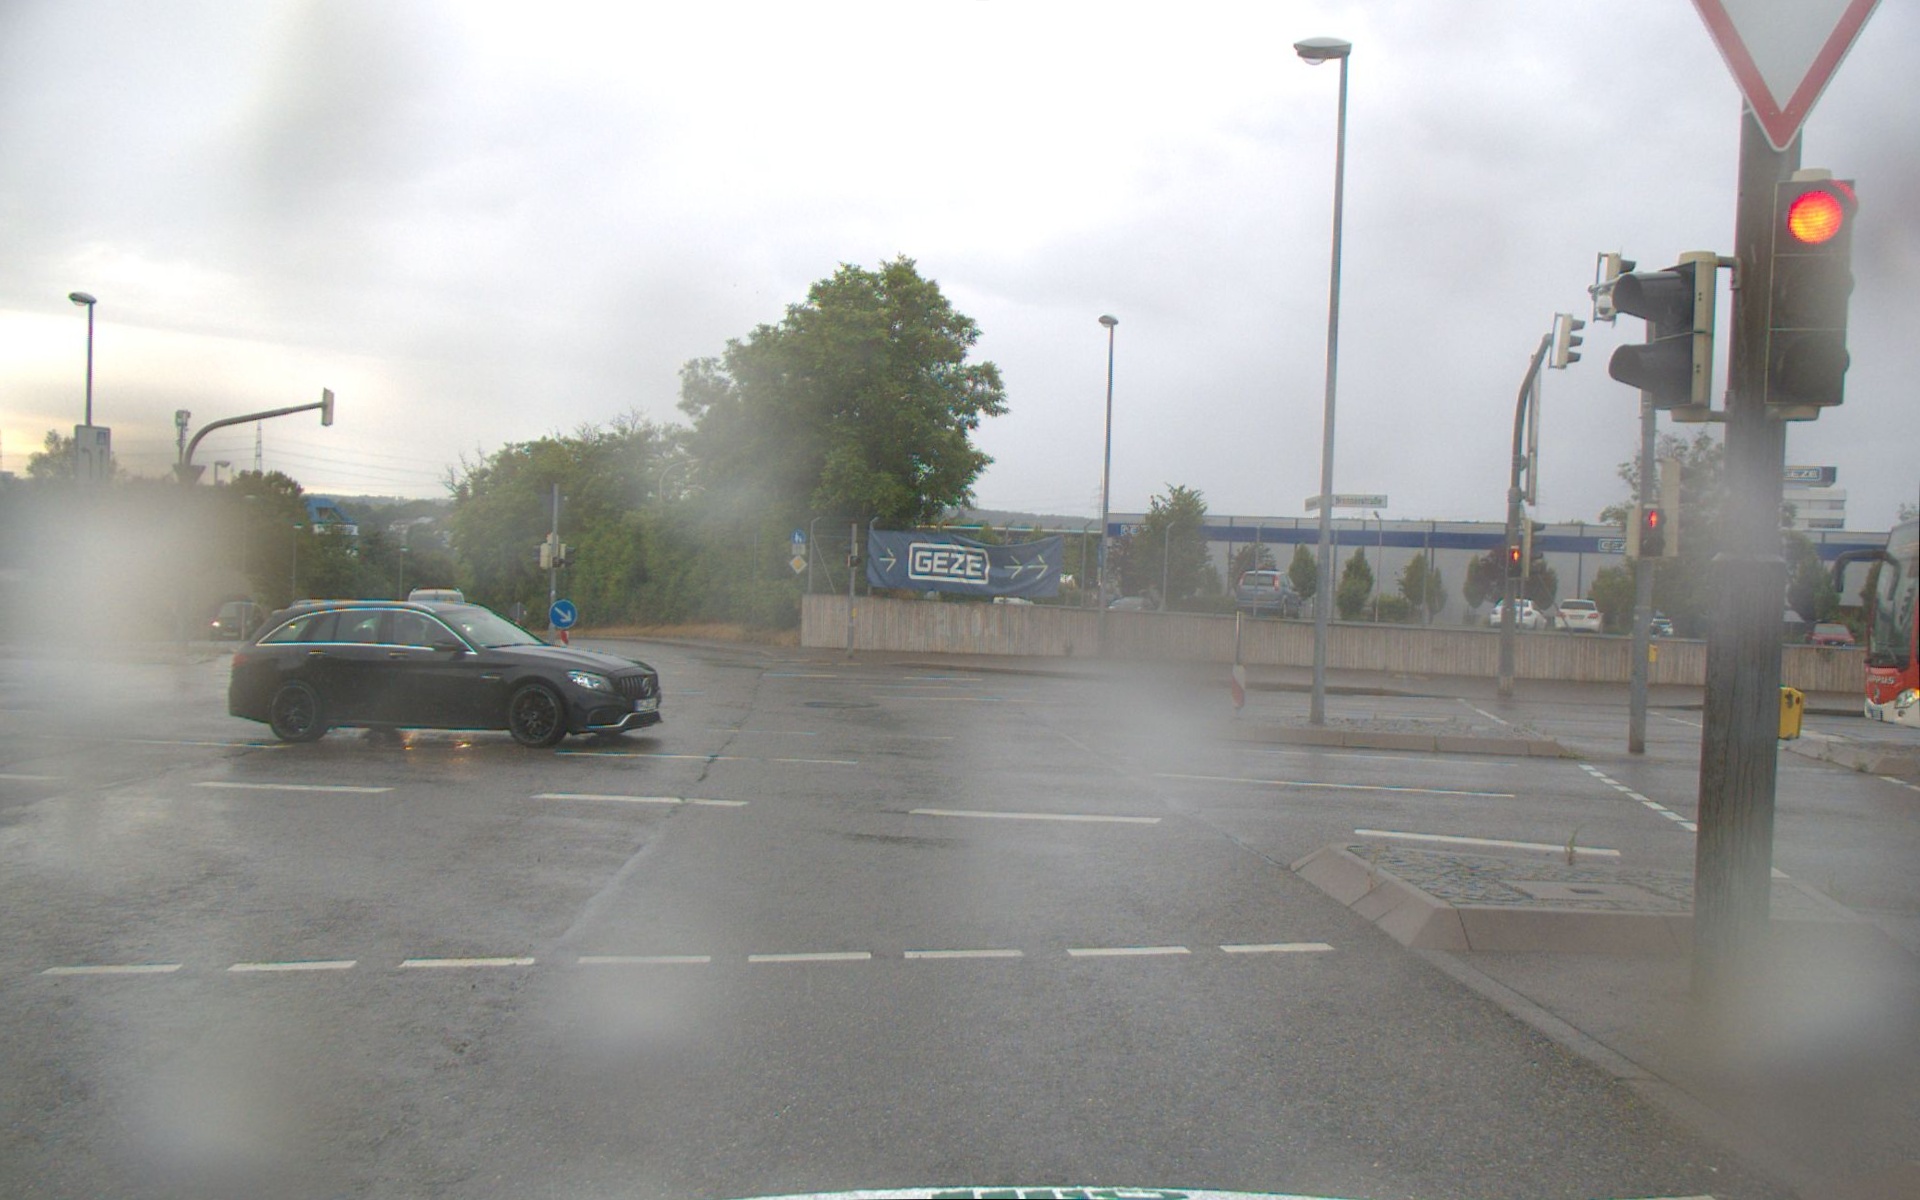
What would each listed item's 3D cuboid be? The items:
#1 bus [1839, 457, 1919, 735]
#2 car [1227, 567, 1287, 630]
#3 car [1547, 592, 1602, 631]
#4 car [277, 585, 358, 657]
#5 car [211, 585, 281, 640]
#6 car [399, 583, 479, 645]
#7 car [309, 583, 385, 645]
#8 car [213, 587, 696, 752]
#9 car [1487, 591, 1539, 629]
[{"bbox_3d":[17.649,0.218,19.877,12.020,3.379,3.076,3,1,17],"label":"bus"},{"bbox_3d":[10.391,-0.053,57.828,1.951,2.049,4.003,1,0,11],"label":"car"},{"bbox_3d":[25.254,0.473,68.043,1.952,1.504,4.001,2,0,19],"label":"car"},{"bbox_3d":[-18.594,0.581,48.022,1.963,1.928,3.979,1,0,-19],"label":"car"},{"bbox_3d":[-26.953,0.440,62.519,1.962,1.928,3.981,1,0,-18],"label":"car"},{"bbox_3d":[-14.894,0.365,47.440,1.961,1.646,3.984,1,1,-15],"label":"car"},{"bbox_3d":[-20.359,0.444,55.070,1.960,1.928,3.984,1,0,-15],"label":"car"},{"bbox_3d":[-5.375,0.674,17.764,4.560,1.502,2.002,2,0,15],"label":"car"},{"bbox_3d":[22.958,0.403,68.632,1.952,1.504,4.001,2,0,19],"label":"car"}]
